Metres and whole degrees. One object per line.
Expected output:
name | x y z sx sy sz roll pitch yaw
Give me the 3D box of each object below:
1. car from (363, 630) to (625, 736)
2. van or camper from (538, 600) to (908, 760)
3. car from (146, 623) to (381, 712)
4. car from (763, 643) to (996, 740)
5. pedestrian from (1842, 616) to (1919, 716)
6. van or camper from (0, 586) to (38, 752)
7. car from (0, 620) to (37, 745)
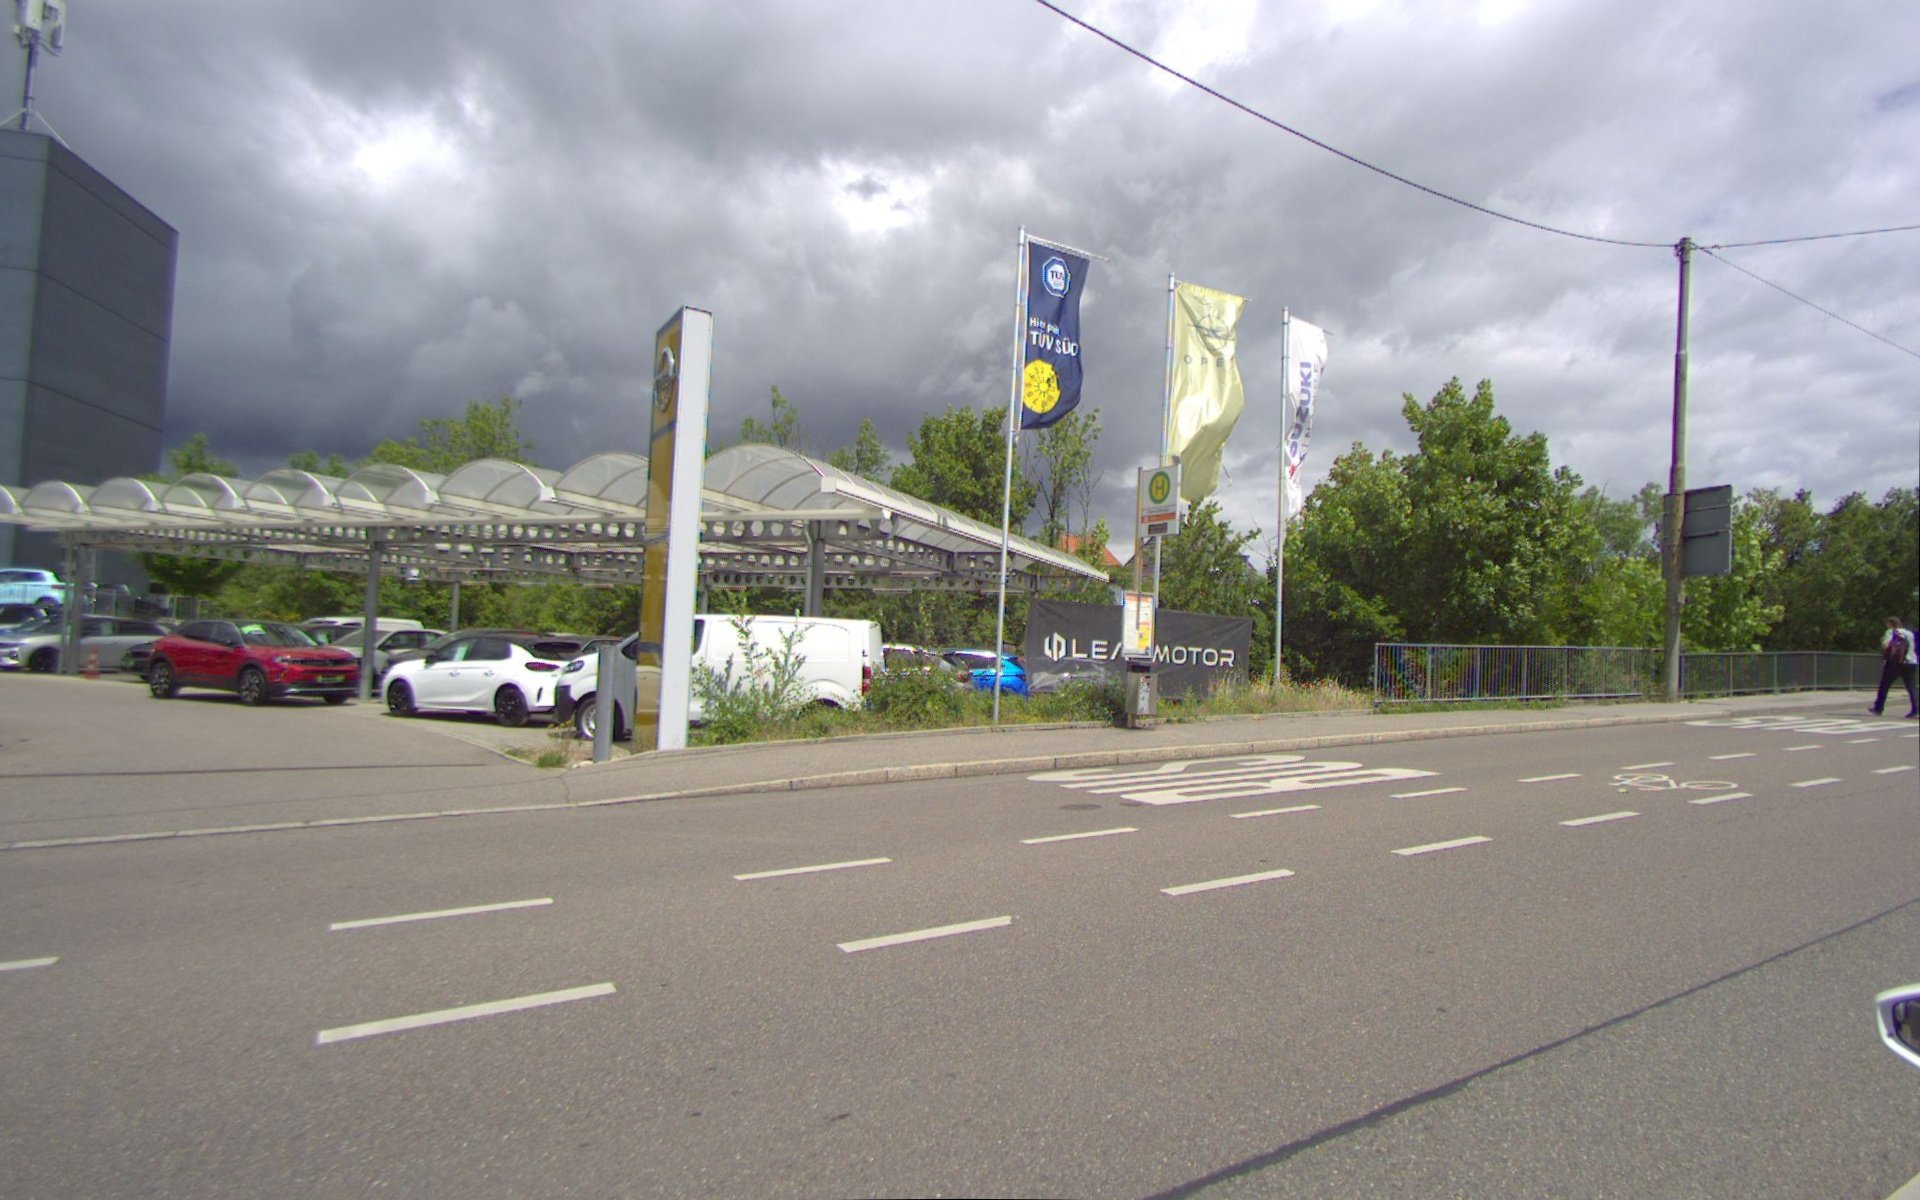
car | -7.886 1.344 17.025 3.923 1.485 1.818 2 -3 24
van or camper | -3.338 1.116 14.808 4.859 1.989 1.991 2 -1 4
car | -13.196 1.248 19.065 3.704 1.485 1.818 1 -3 20
car | -1.435 1.618 18.109 3.925 1.485 1.817 3 -2 -6
pedestrian | 17.997 1.252 19.402 0.979 1.861 1.037 2 -1 4
van or camper | -10.453 0.649 8.840 1.973 1.772 4.656 3 -3 -24
car | -13.609 0.968 12.972 4.457 1.455 2.003 0 -3 42
